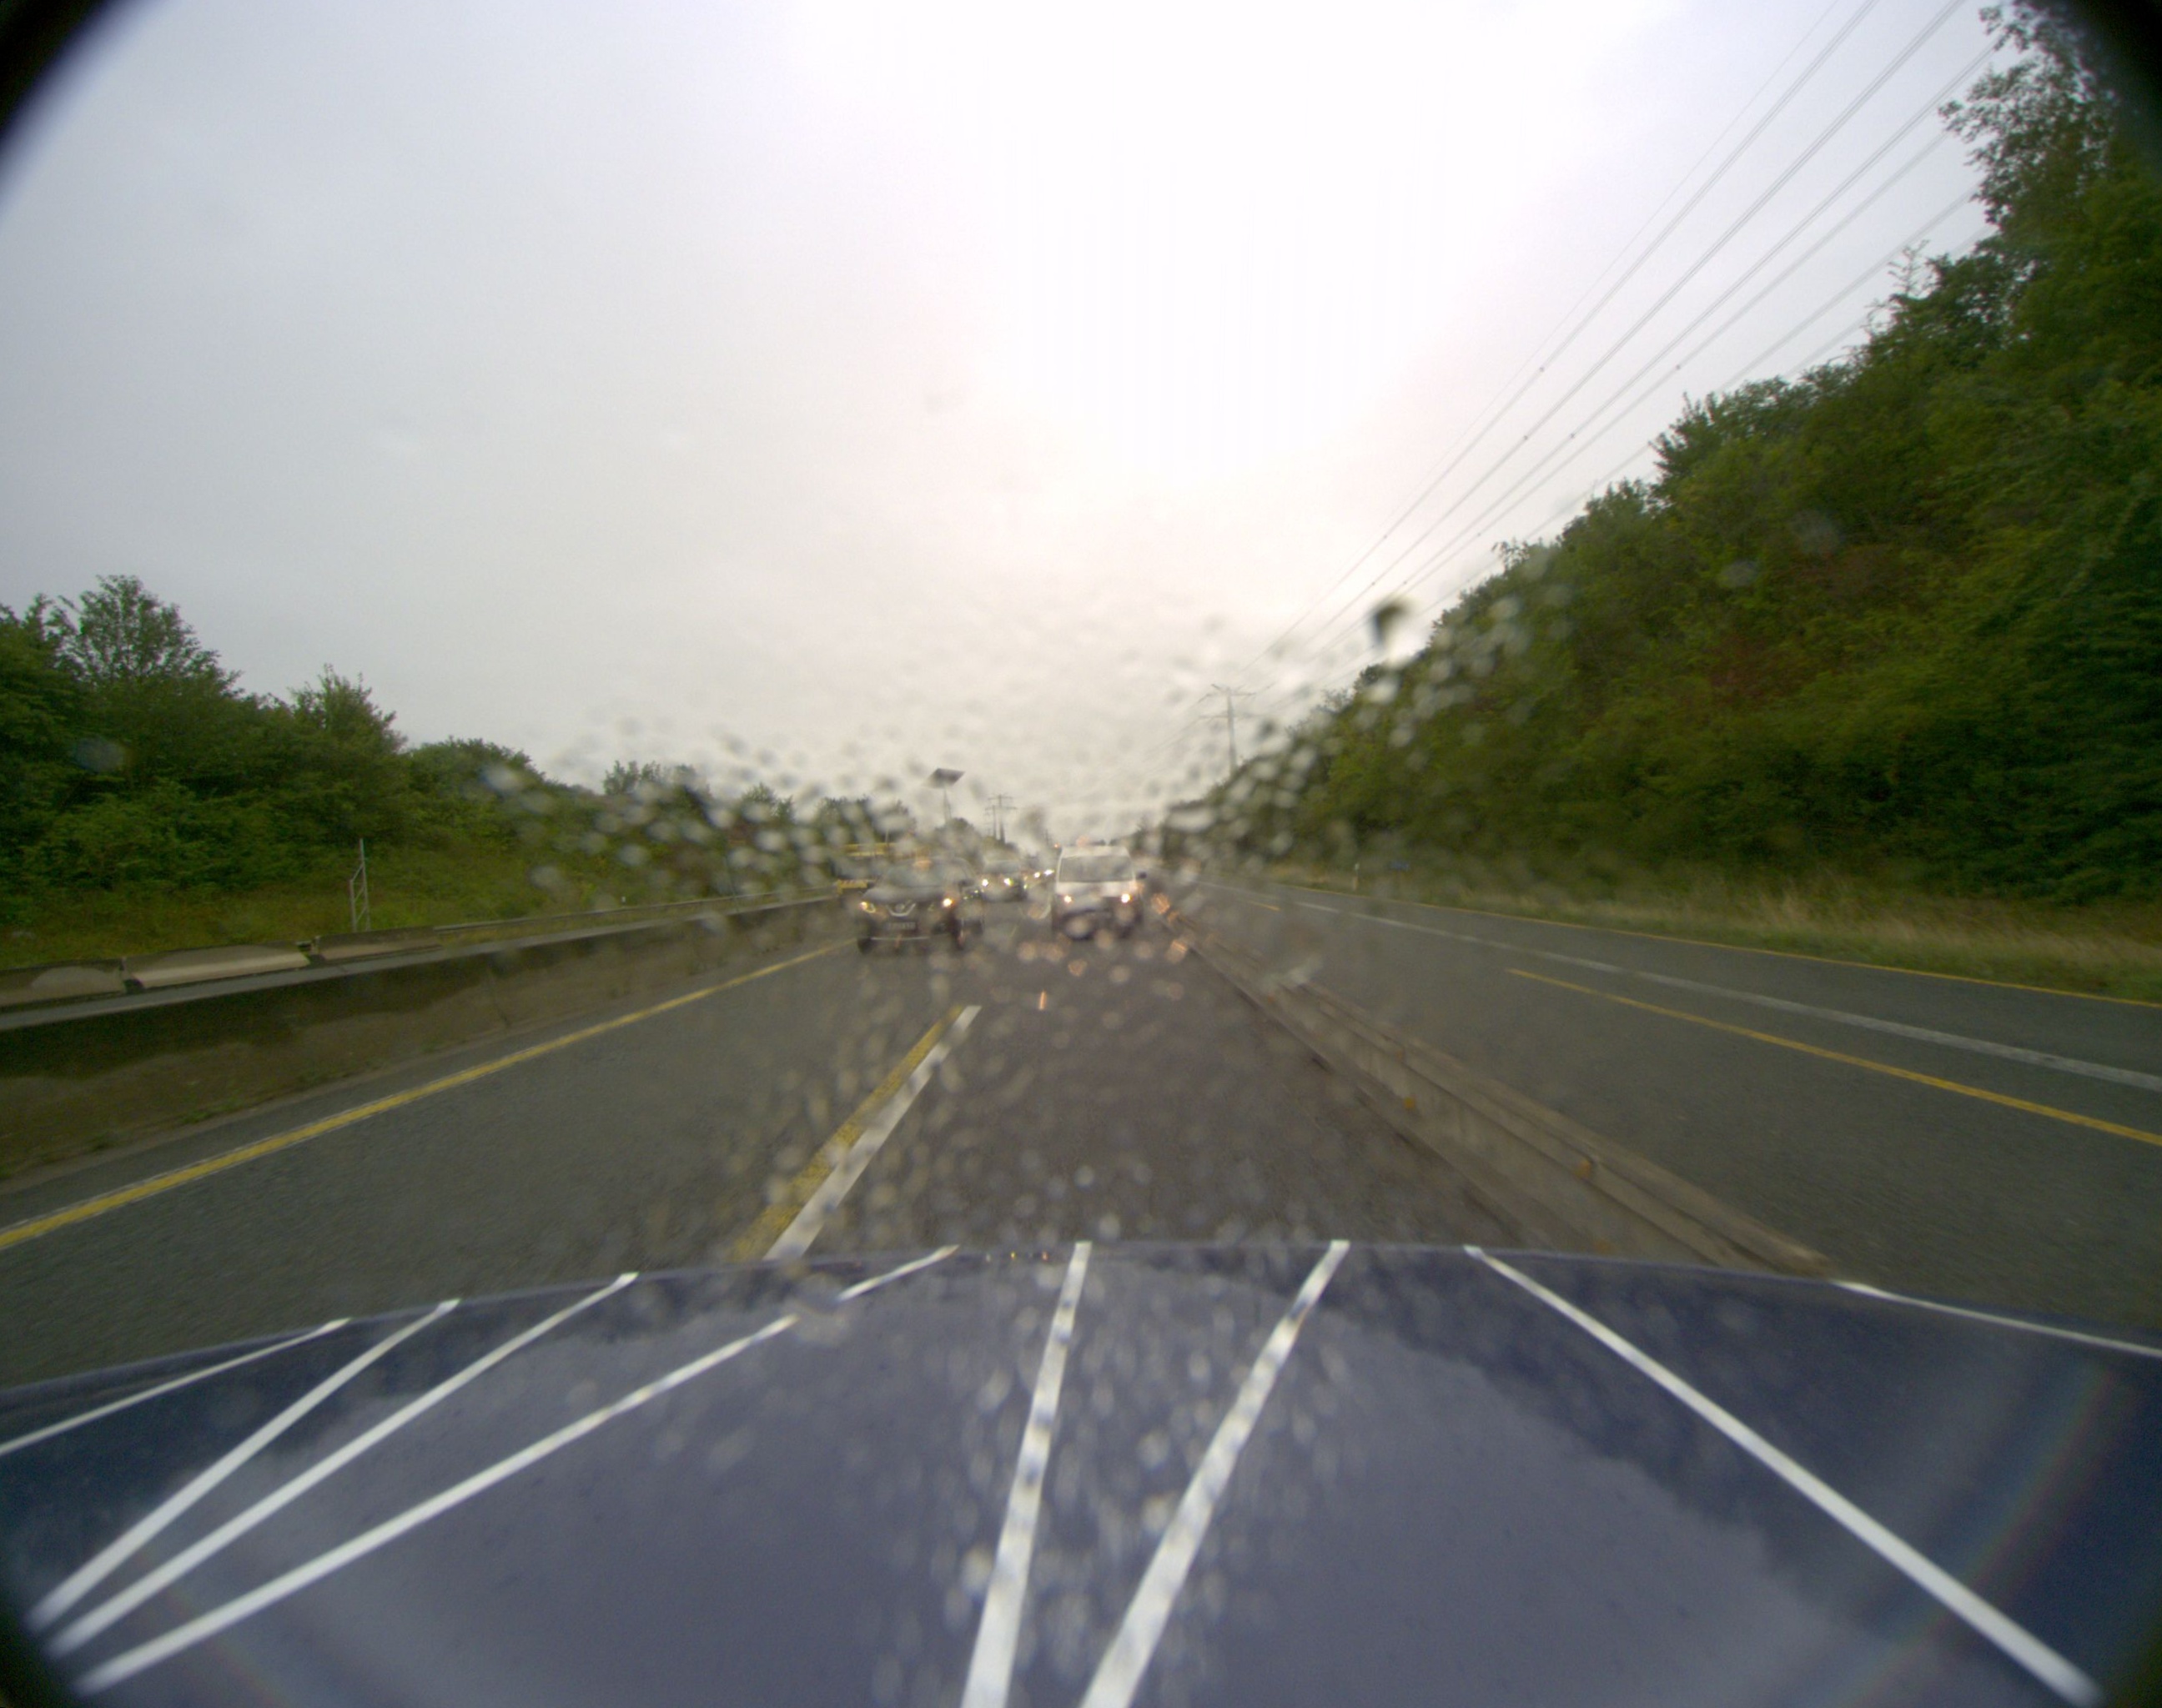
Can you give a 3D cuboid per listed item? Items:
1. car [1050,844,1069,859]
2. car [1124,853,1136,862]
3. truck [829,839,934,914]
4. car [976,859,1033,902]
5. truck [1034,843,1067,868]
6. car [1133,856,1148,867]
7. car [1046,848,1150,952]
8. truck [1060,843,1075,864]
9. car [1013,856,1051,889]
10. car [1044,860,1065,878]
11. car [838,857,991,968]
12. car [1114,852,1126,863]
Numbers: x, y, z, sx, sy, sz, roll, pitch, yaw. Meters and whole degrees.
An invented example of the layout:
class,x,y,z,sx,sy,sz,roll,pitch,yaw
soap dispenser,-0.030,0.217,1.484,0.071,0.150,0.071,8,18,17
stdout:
class,x,y,z,sx,sy,sz,roll,pitch,yaw
car,-2.250,-0.282,80.443,1.784,1.482,4.123,-2,1,0
car,8.936,0.642,138.151,1.875,1.593,4.000,-2,1,1
truck,-10.140,0.999,39.914,2.619,3.404,9.576,-2,1,2
car,-2.952,1.002,30.090,1.784,1.482,4.123,-2,1,0
truck,-4.487,0.218,109.778,2.622,3.404,9.563,-2,1,-14
car,8.225,0.989,104.832,1.778,1.442,4.449,-2,1,1
car,0.280,0.799,15.821,1.784,1.775,4.697,-2,1,0
truck,-2.659,-0.127,149.183,2.619,3.868,9.574,-2,1,0
car,-2.613,0.952,41.379,1.784,1.589,4.123,-2,1,0
car,-2.366,1.357,69.406,1.784,1.482,4.123,-2,1,0
car,-2.955,0.955,14.596,1.894,1.665,4.640,-2,1,0
car,5.995,0.533,116.762,1.766,1.674,4.000,-2,1,1
